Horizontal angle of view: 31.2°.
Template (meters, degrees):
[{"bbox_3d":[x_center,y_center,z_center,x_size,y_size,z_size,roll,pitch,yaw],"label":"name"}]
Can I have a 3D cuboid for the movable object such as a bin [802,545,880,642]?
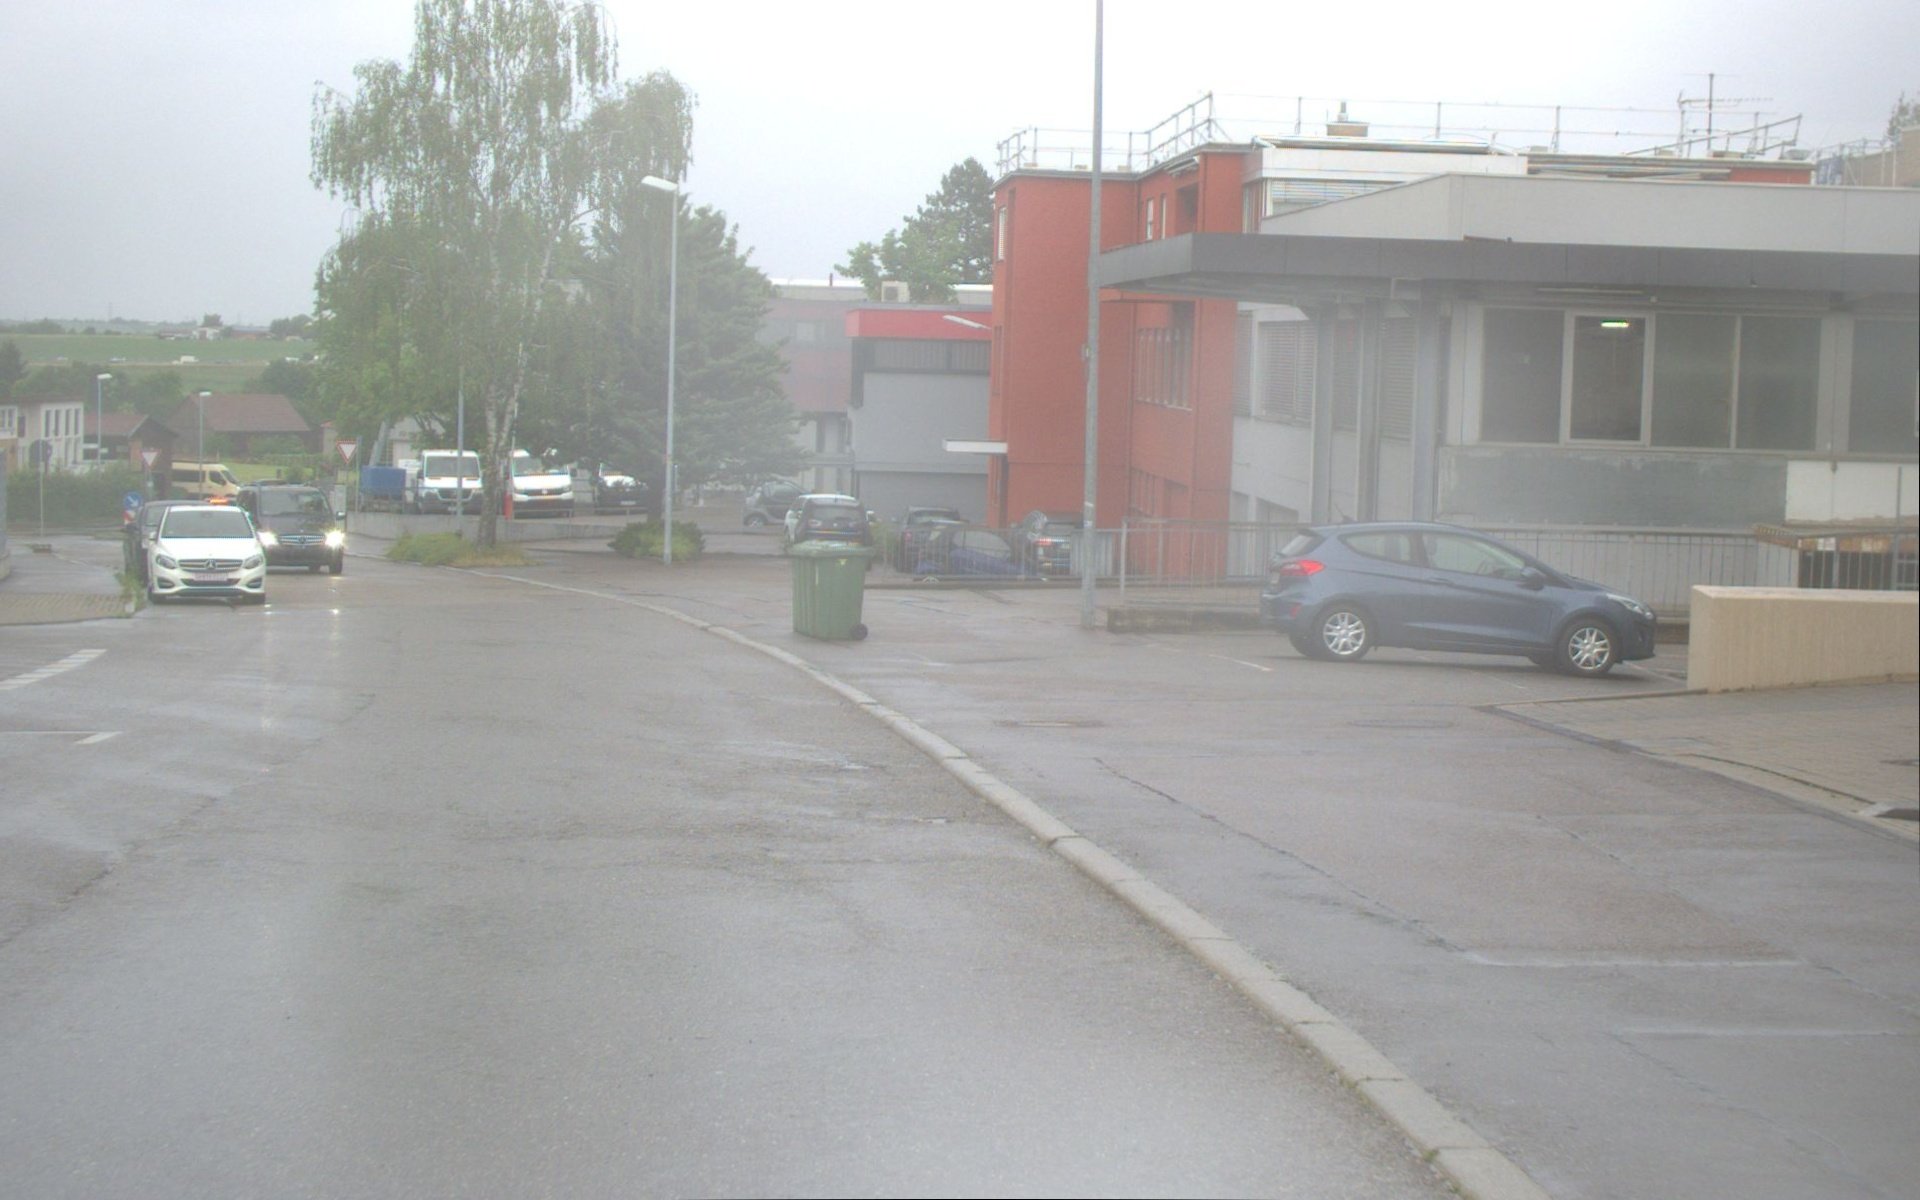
[{"bbox_3d":[-1.356,-0.078,39.206,0.806,1.089,0.709,0,1,-9],"label":"movable object such as a bin"}]

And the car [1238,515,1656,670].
[{"bbox_3d":[4.953,-0.082,35.271,3.894,1.379,1.821,2,0,-4],"label":"car"}]

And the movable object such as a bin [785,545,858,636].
[{"bbox_3d":[-1.656,-0.117,40.972,0.808,1.073,0.582,0,1,-9],"label":"movable object such as a bin"}]

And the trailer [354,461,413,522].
[{"bbox_3d":[-19.663,-3.705,117.143,1.852,2.007,4.001,1,1,-11],"label":"trailer"}]

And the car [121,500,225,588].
[{"bbox_3d":[-15.255,-1.112,66.520,1.699,1.604,4.002,-1,2,-16],"label":"car"}]

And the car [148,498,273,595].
[{"bbox_3d":[-12.217,-0.866,55.885,1.769,1.507,4.146,0,1,-15],"label":"car"}]

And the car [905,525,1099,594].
[{"bbox_3d":[0.728,-0.738,61.973,3.400,1.159,1.792,1,1,-2],"label":"car"}]

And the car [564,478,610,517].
[{"bbox_3d":[-13.086,-3.586,120.579,1.398,1.321,2.702,1,0,-10],"label":"car"}]

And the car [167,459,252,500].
[{"bbox_3d":[-41.758,-6.696,191.300,4.241,2.218,2.000,1,0,3],"label":"car"}]

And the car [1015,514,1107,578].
[{"bbox_3d":[2.310,-1.241,79.604,1.728,1.417,4.001,1,1,-4],"label":"car"}]

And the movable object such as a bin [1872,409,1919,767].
[{"bbox_3d":[7.753,-0.066,20.411,4.254,2.103,1.477,0,1,-3],"label":"movable object such as a bin"}]

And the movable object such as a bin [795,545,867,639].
[{"bbox_3d":[-1.497,-0.090,39.846,0.775,1.072,0.584,0,1,-9],"label":"movable object such as a bin"}]

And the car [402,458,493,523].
[{"bbox_3d":[-16.910,-3.584,113.298,2.264,2.007,4.001,1,1,-19],"label":"car"}]

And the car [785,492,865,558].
[{"bbox_3d":[-3.147,-1.716,79.594,1.697,1.470,4.001,1,1,-4],"label":"car"}]

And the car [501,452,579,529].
[{"bbox_3d":[-13.936,-3.603,113.916,2.192,2.451,4.001,1,0,-12],"label":"car"}]

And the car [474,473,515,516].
[{"bbox_3d":[-16.164,-3.643,119.388,1.290,1.419,2.547,1,0,-10],"label":"car"}]

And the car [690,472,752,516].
[{"bbox_3d":[-8.458,-3.725,121.468,1.636,1.448,3.512,1,1,-13],"label":"car"}]

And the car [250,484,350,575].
[{"bbox_3d":[-14.437,-1.562,75.354,1.884,1.880,5.073,1,1,-8],"label":"car"}]

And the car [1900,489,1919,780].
[{"bbox_3d":[7.898,0.219,18.520,5.090,1.608,1.925,0,2,-4],"label":"car"}]

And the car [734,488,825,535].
[{"bbox_3d":[-5.335,-2.615,101.604,2.547,1.347,1.242,1,1,-9],"label":"car"}]

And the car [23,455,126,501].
[{"bbox_3d":[-38.557,-5.309,149.787,3.986,1.875,2.000,1,1,-3],"label":"car"}]

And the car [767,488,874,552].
[{"bbox_3d":[-3.558,-2.005,87.057,2.064,1.547,4.001,1,1,-12],"label":"car"}]

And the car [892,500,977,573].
[{"bbox_3d":[-0.625,-1.458,80.351,1.739,1.648,4.001,1,0,-4],"label":"car"}]

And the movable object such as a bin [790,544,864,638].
[{"bbox_3d":[-1.570,-0.107,40.417,0.809,1.087,0.542,0,1,-9],"label":"movable object such as a bin"}]

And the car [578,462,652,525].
[{"bbox_3d":[-11.550,-3.536,115.031,2.145,2.007,3.940,1,0,-10],"label":"car"}]
